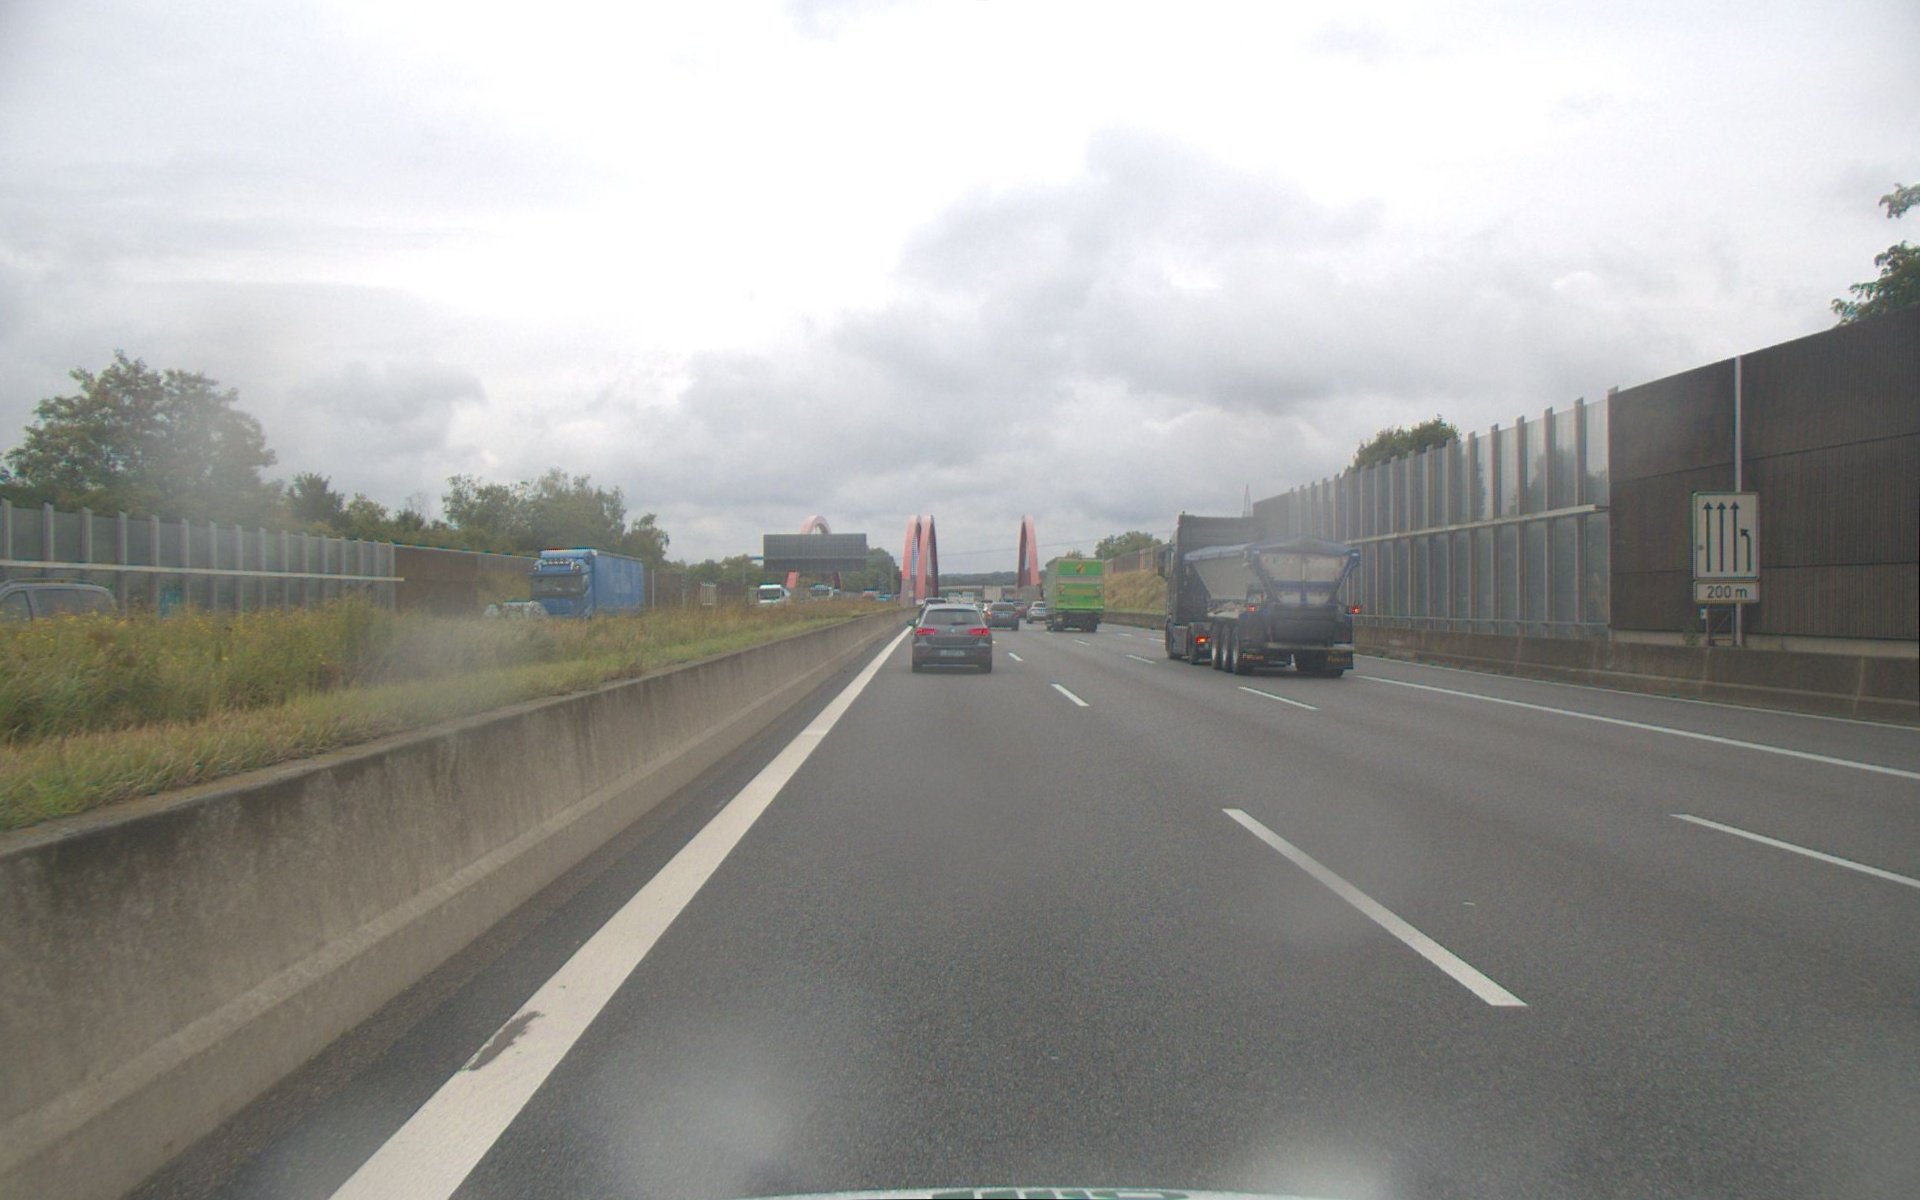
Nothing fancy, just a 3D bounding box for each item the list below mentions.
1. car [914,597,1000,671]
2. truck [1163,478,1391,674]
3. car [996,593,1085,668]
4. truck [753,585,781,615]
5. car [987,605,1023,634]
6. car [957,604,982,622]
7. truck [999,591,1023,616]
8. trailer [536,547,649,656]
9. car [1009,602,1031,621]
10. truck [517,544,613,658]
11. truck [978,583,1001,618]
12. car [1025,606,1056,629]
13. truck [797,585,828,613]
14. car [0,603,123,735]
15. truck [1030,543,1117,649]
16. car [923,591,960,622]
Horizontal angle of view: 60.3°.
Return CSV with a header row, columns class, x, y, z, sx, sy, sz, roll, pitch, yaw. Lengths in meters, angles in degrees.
class,x,y,z,sx,sy,sz,roll,pitch,yaw
car,-0.055,0.699,35.666,1.727,1.478,4.000,1,0,0
truck,7.345,-0.468,40.611,3.026,4.019,12.943,0,0,0
car,1.976,0.726,41.712,1.953,1.780,3.999,0,0,-1
truck,-20.428,-0.036,175.386,2.569,3.072,5.609,1,0,-3
car,2.373,1.022,87.692,1.745,1.431,3.625,1,0,-1
car,0.772,1.058,134.874,1.953,1.378,3.999,0,0,-1
truck,5.277,0.324,172.950,2.313,2.550,6.143,1,0,0
trailer,-18.293,0.100,83.413,3.152,4.971,13.520,1,0,-3
car,5.685,1.087,156.606,1.917,1.676,3.999,1,0,0
truck,-17.960,0.072,75.498,3.124,4.943,5.416,1,0,-2
truck,4.204,0.139,236.697,2.982,4.817,7.679,1,0,0
car,6.062,1.331,124.976,1.953,1.647,5.327,1,0,-1
truck,-17.441,-0.119,195.756,2.896,3.120,8.726,1,0,-1
car,-12.690,0.842,20.779,1.953,1.568,4.769,1,0,-1
truck,6.079,-0.178,90.661,3.916,5.358,11.218,1,0,0
car,-1.005,0.349,89.616,1.953,1.612,3.999,0,0,-1
